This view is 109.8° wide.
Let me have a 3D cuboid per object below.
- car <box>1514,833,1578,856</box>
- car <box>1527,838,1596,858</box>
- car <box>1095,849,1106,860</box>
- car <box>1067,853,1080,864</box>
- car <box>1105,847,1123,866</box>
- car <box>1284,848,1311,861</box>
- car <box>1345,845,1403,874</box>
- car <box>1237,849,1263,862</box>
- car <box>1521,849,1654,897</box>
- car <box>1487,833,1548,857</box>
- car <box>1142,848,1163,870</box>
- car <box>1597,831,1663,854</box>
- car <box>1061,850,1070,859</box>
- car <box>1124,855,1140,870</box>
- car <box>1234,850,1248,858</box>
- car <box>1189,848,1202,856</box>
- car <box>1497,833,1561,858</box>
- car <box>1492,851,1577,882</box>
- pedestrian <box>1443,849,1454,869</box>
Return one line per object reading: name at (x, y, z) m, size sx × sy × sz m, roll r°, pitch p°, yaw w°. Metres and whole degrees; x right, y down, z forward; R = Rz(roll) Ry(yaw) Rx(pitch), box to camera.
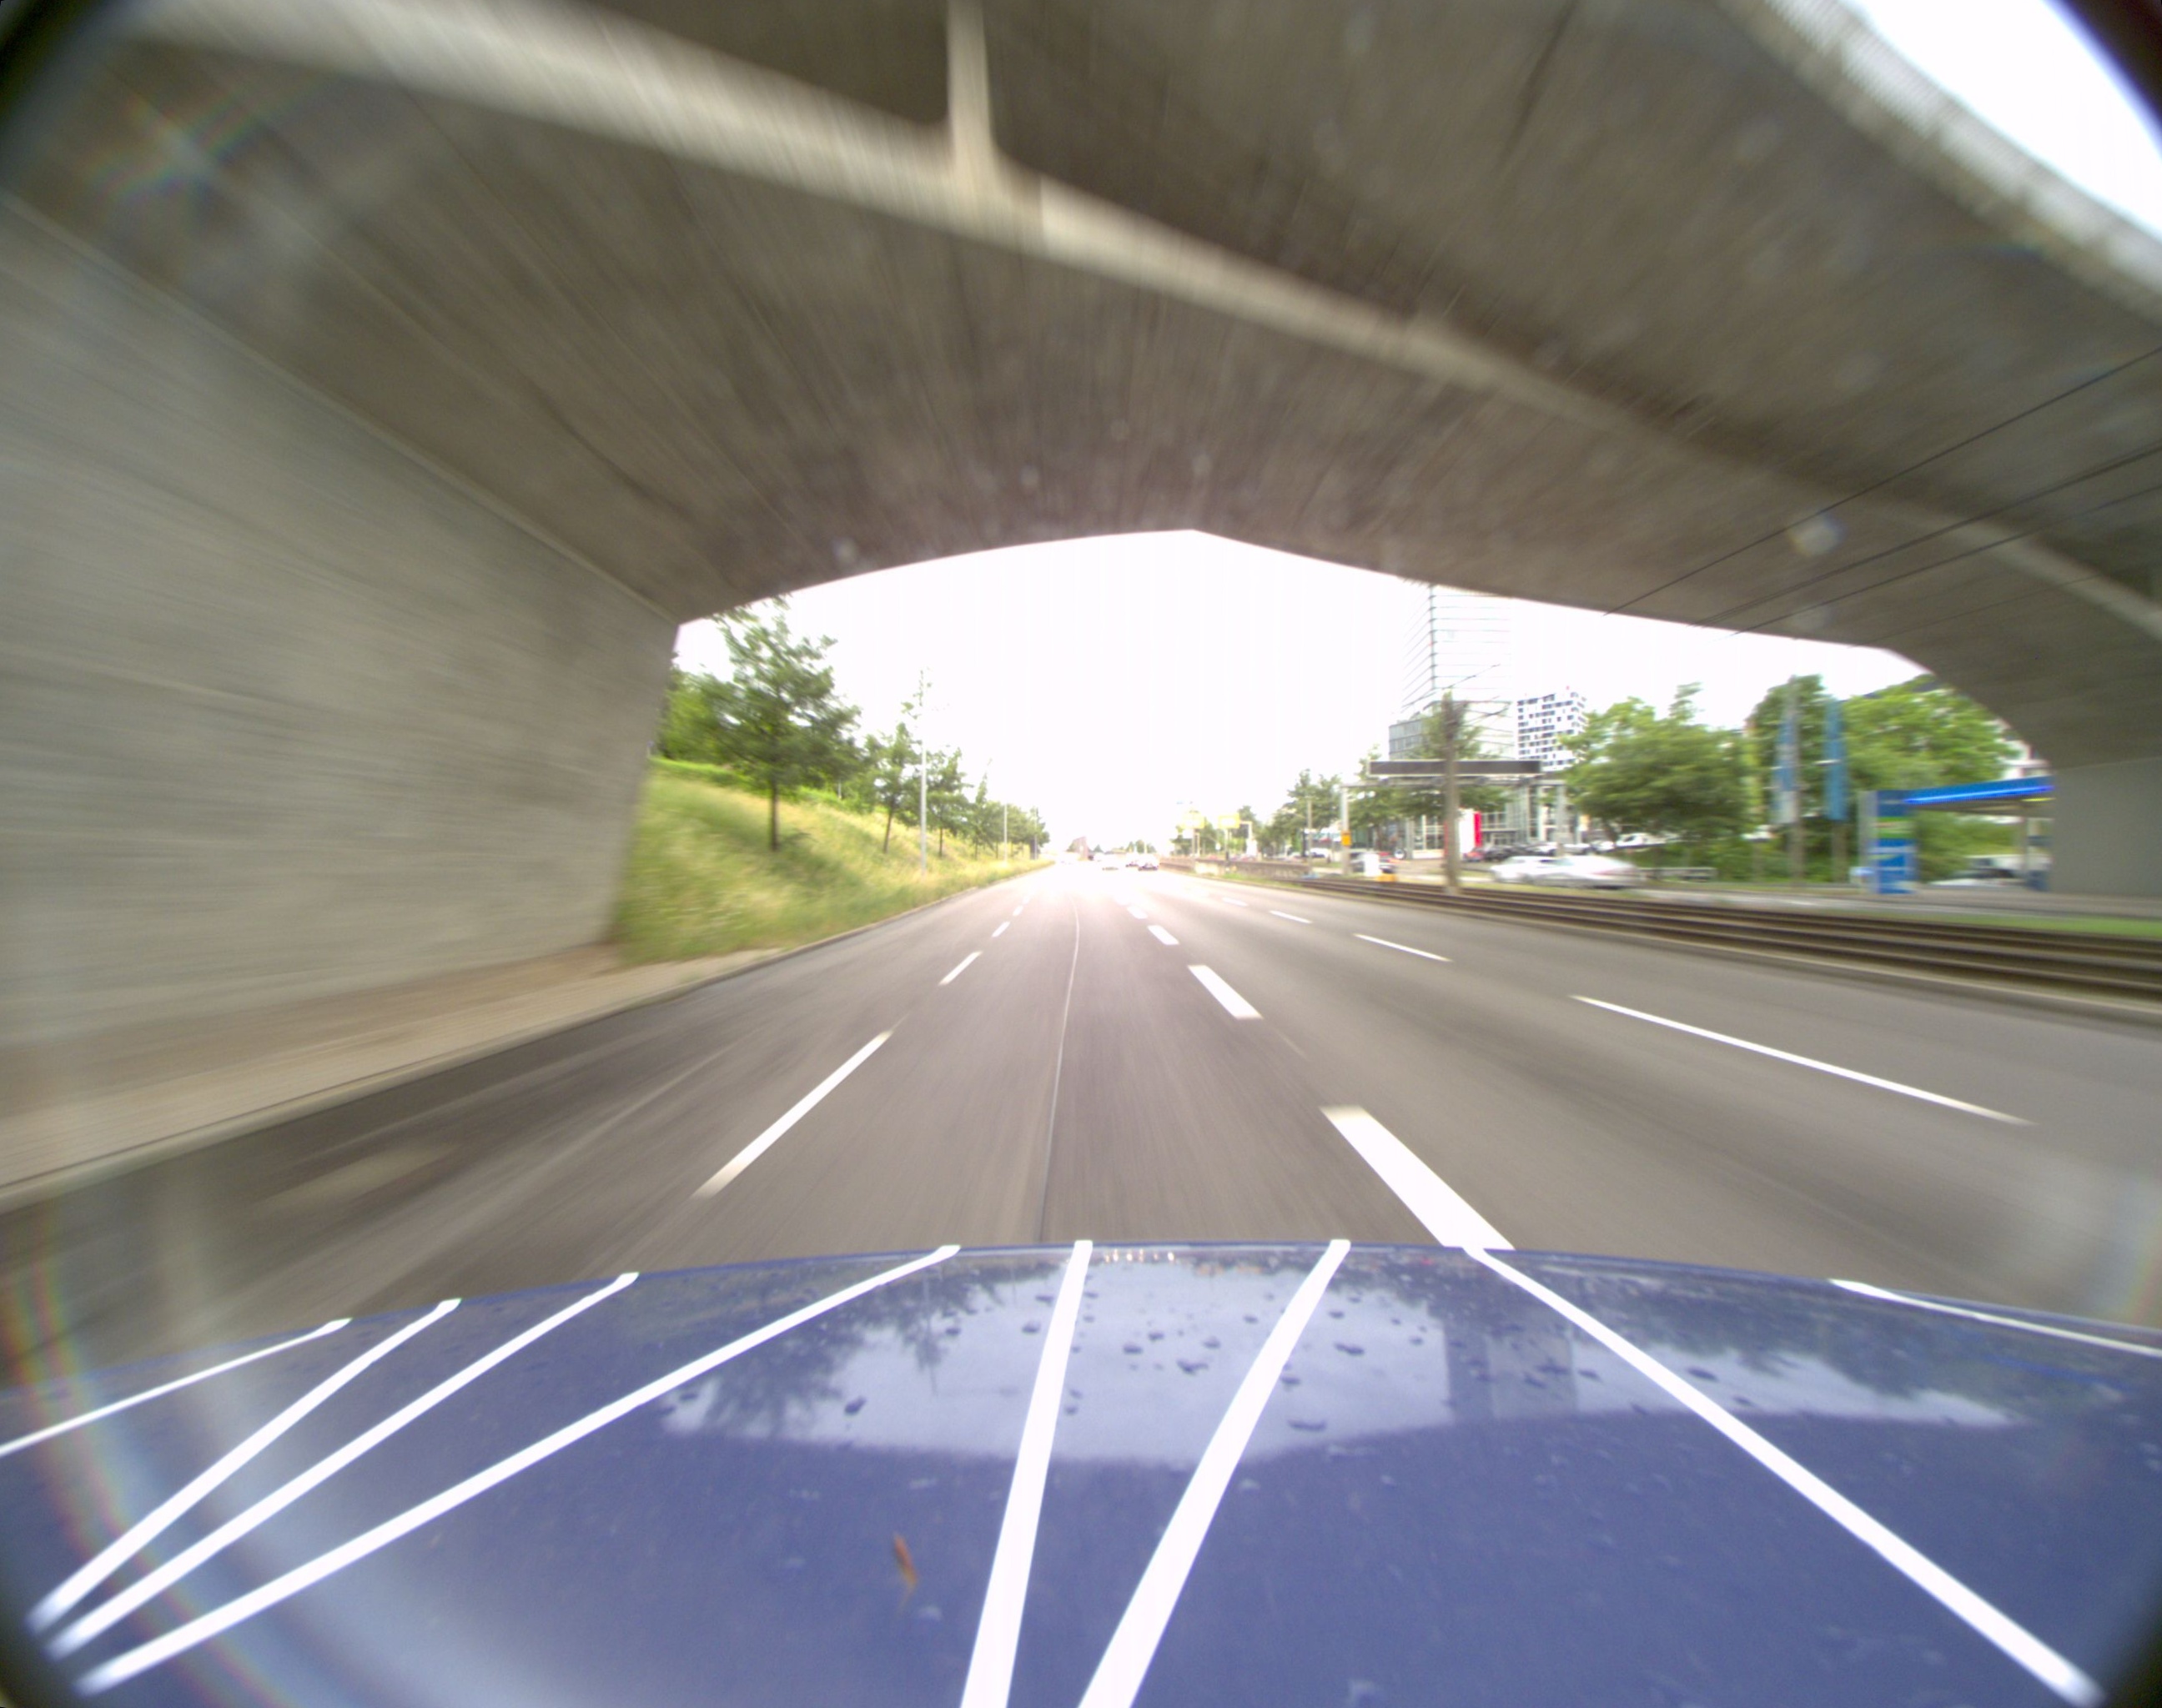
car at (38.951, -0.829, 63.727) m, size 4.196 × 1.762 × 1.885 m, roll -2°, pitch 1°, yaw 5°
car at (39.021, -0.502, 61.792) m, size 4.362 × 1.495 × 1.885 m, roll -2°, pitch 1°, yaw 5°
car at (3.611, 0.114, 138.498) m, size 1.793 × 1.858 × 4.377 m, roll -2°, pitch 1°, yaw 3°
car at (-1.279, 0.795, 132.840) m, size 1.793 × 1.621 × 4.377 m, roll -2°, pitch 1°, yaw 3°
car at (3.510, 0.264, 79.774) m, size 1.793 × 1.858 × 4.377 m, roll -2°, pitch 1°, yaw 3°
car at (28.373, 0.091, 99.890) m, size 2.053 × 1.520 × 4.567 m, roll -2°, pitch 0°, yaw -2°
car at (19.284, 0.380, 50.217) m, size 1.926 × 1.766 × 4.223 m, roll -2°, pitch 0°, yaw -3°
car at (20.768, 0.202, 93.333) m, size 2.052 × 1.530 × 4.759 m, roll -2°, pitch 0°, yaw -1°
car at (19.015, 0.687, 28.836) m, size 1.769 × 1.588 × 4.792 m, roll -2°, pitch 0°, yaw -1°
car at (39.458, -0.839, 68.783) m, size 4.362 × 1.936 × 1.885 m, roll -2°, pitch 1°, yaw 5°
car at (6.687, 0.435, 71.463) m, size 1.793 × 1.858 × 4.377 m, roll -2°, pitch 1°, yaw 3°
car at (48.200, -1.035, 66.741) m, size 4.362 × 1.804 × 1.885 m, roll -2°, pitch 1°, yaw 5°
car at (-3.145, 0.133, 154.875) m, size 1.794 × 1.621 × 4.376 m, roll -2°, pitch 1°, yaw -1°
car at (6.020, 1.024, 89.579) m, size 1.793 × 1.535 × 4.377 m, roll -2°, pitch 1°, yaw 3°
car at (28.065, 0.034, 133.526) m, size 1.770 × 1.302 × 4.111 m, roll -2°, pitch 1°, yaw 3°
car at (21.531, -0.370, 142.820) m, size 1.794 × 1.392 × 4.875 m, roll -2°, pitch 1°, yaw 2°
car at (39.266, -0.748, 66.656) m, size 4.362 × 1.936 × 1.885 m, roll -2°, pitch 1°, yaw 5°
car at (24.121, 0.655, 40.664) m, size 1.925 × 1.488 × 4.658 m, roll 2°, pitch 0°, yaw 3°
pedestrian at (34.647, 0.478, 71.630) m, size 0.688 × 1.786 × 0.637 m, roll -2°, pitch 2°, yaw 2°
